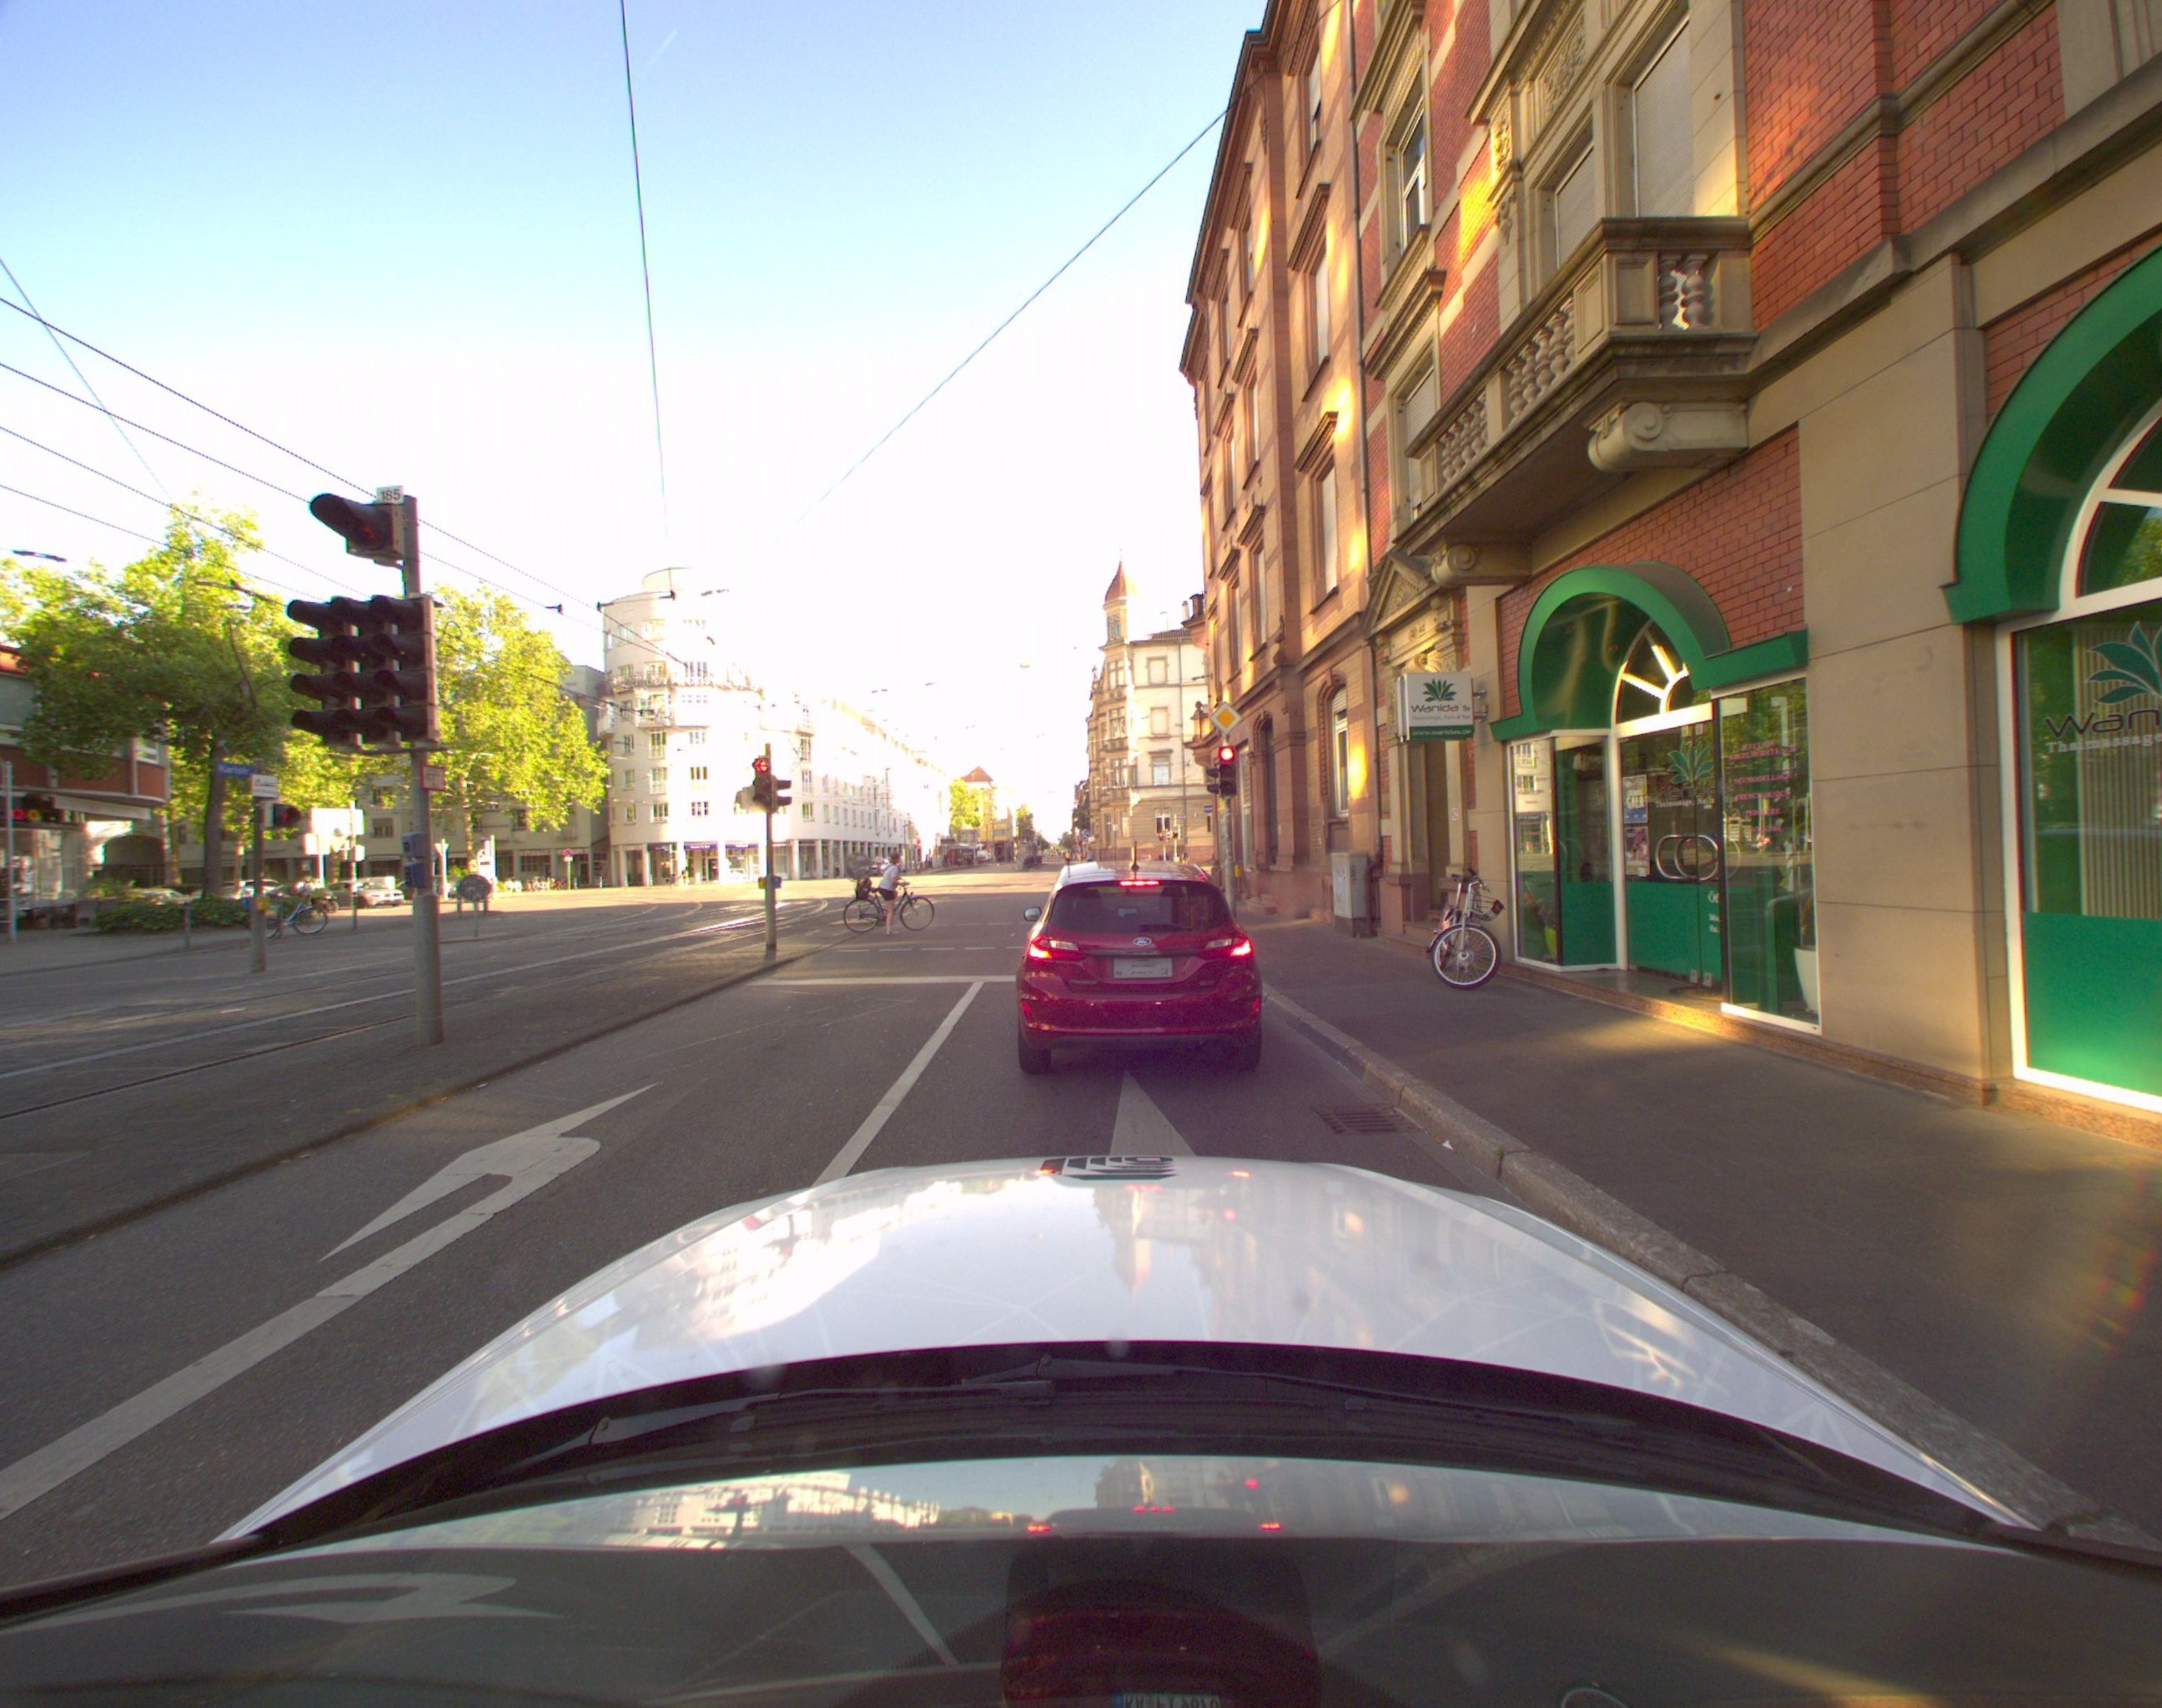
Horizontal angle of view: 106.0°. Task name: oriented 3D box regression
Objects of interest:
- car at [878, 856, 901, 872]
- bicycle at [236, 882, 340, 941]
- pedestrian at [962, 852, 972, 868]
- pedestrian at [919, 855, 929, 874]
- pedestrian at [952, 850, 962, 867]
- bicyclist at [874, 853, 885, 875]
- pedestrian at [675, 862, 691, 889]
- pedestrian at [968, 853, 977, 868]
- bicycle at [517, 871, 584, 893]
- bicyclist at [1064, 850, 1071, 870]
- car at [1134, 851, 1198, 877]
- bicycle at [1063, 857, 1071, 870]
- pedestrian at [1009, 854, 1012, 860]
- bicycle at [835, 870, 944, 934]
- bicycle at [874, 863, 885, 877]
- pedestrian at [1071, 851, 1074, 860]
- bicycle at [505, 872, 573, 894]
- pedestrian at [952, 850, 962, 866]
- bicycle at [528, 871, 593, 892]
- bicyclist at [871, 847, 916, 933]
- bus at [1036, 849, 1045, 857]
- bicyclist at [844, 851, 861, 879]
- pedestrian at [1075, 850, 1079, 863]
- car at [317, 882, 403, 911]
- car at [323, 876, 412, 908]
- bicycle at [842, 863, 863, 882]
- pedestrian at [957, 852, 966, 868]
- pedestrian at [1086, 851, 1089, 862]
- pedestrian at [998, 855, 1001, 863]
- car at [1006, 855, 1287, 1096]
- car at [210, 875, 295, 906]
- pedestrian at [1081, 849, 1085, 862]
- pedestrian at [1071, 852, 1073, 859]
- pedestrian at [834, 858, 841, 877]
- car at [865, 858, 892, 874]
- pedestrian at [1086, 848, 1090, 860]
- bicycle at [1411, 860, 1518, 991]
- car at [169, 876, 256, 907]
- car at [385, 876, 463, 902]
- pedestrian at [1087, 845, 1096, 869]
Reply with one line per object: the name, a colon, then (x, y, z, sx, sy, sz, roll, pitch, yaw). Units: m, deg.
car: (-20.882, 1.059, 89.063, 1.696, 1.718, 3.562, -2, 0, -1)
bicycle: (-19.743, 1.401, 20.345, 0.668, 1.327, 1.907, 1, 0, 2)
pedestrian: (-14.626, 0.759, 104.470, 1.043, 2.013, 0.958, -2, 0, -3)
pedestrian: (-14.294, 0.981, 74.294, 0.766, 1.730, 0.573, -2, 0, 1)
pedestrian: (-15.550, 0.570, 102.179, 0.953, 2.013, 1.048, -2, 0, -1)
bicyclist: (-16.734, 0.842, 67.505, 0.809, 1.821, 0.988, -2, 0, -16)
pedestrian: (-29.744, 1.589, 60.827, 0.949, 2.013, 0.931, -2, 0, -29)
pedestrian: (-14.282, 0.836, 106.981, 1.043, 2.013, 0.958, -2, 0, -3)
bicycle: (-42.861, 2.272, 65.789, 4.685, 1.530, 1.067, -2, 0, 2)
bicyclist: (-1.190, 0.485, 70.089, 0.497, 1.676, 0.546, -2, 0, 4)
car: (6.029, 0.666, 57.552, 4.419, 1.641, 1.708, -2, 0, 8)
bicycle: (-1.170, 0.784, 70.288, 0.524, 1.089, 1.488, -2, 0, 4)
pedestrian: (-17.142, 0.712, 198.345, 0.630, 1.604, 0.575, -2, 0, -18)
bicycle: (-3.800, 0.921, 16.162, 2.026, 1.177, 0.624, -1, -1, -22)
bicycle: (-16.783, 1.327, 67.750, 0.809, 1.147, 1.999, -2, 0, -16)
pedestrian: (-1.739, 0.291, 174.331, 0.575, 2.013, 0.630, -2, 0, -1)
bicycle: (-43.022, 2.290, 64.652, 4.685, 1.530, 1.067, -2, 0, 2)
pedestrian: (-15.879, 0.554, 104.171, 1.043, 2.013, 0.958, -2, 0, -3)
bicycle: (-43.023, 2.294, 67.288, 4.685, 1.530, 1.067, -2, 0, 2)
bicyclist: (-3.663, 0.686, 15.910, 0.732, 1.627, 0.760, -1, -1, -22)
bus: (-10.902, -0.335, 218.478, 1.919, 2.013, 7.137, -2, 0, 1)
bicyclist: (-14.794, 0.708, 52.724, 0.805, 1.726, 0.794, -2, 0, -2)
pedestrian: (-0.602, 0.408, 131.065, 0.574, 2.013, 0.632, -2, 0, 5)
car: (-36.925, 2.169, 41.724, 3.968, 1.295, 1.781, -2, 0, 24)
car: (-40.251, 2.138, 45.954, 3.978, 1.559, 1.636, -2, 0, 11)
bicycle: (-14.776, 1.216, 52.715, 0.805, 1.147, 2.048, -2, 0, -1)
pedestrian: (-15.579, 0.742, 106.352, 1.043, 2.013, 0.958, -2, 0, -3)
pedestrian: (0.919, 0.349, 117.194, 0.412, 1.680, 0.485, -2, 0, 1)
pedestrian: (-16.838, 1.022, 167.711, 0.522, 1.488, 0.583, -2, 0, 1)
car: (0.328, 0.750, 7.046, 1.750, 1.466, 3.941, -1, 0, -3)
car: (-60.424, 2.624, 59.504, 1.986, 1.964, 4.001, -2, 0, 1)
pedestrian: (0.279, 0.246, 130.827, 0.574, 2.013, 0.632, -2, 0, 5)
pedestrian: (-2.270, 0.382, 201.958, 0.575, 1.887, 0.630, -2, 0, -1)
pedestrian: (-22.277, 1.227, 74.526, 0.524, 1.681, 0.484, -2, 0, -8)
car: (-20.160, 1.167, 81.327, 1.760, 1.546, 3.460, -2, 0, 0)
pedestrian: (1.184, -0.061, 135.685, 0.574, 2.013, 0.632, -2, 0, 5)
bicycle: (3.893, 0.677, 8.390, 0.710, 1.152, 1.662, -4, 0, 17)
car: (-63.342, 2.715, 59.485, 1.986, 1.964, 4.001, -2, 0, 1)
car: (-44.194, 2.345, 54.835, 3.969, 1.531, 1.618, -2, 0, 3)
pedestrian: (0.923, 0.272, 69.956, 0.649, 2.013, 0.759, -2, 0, -2)
